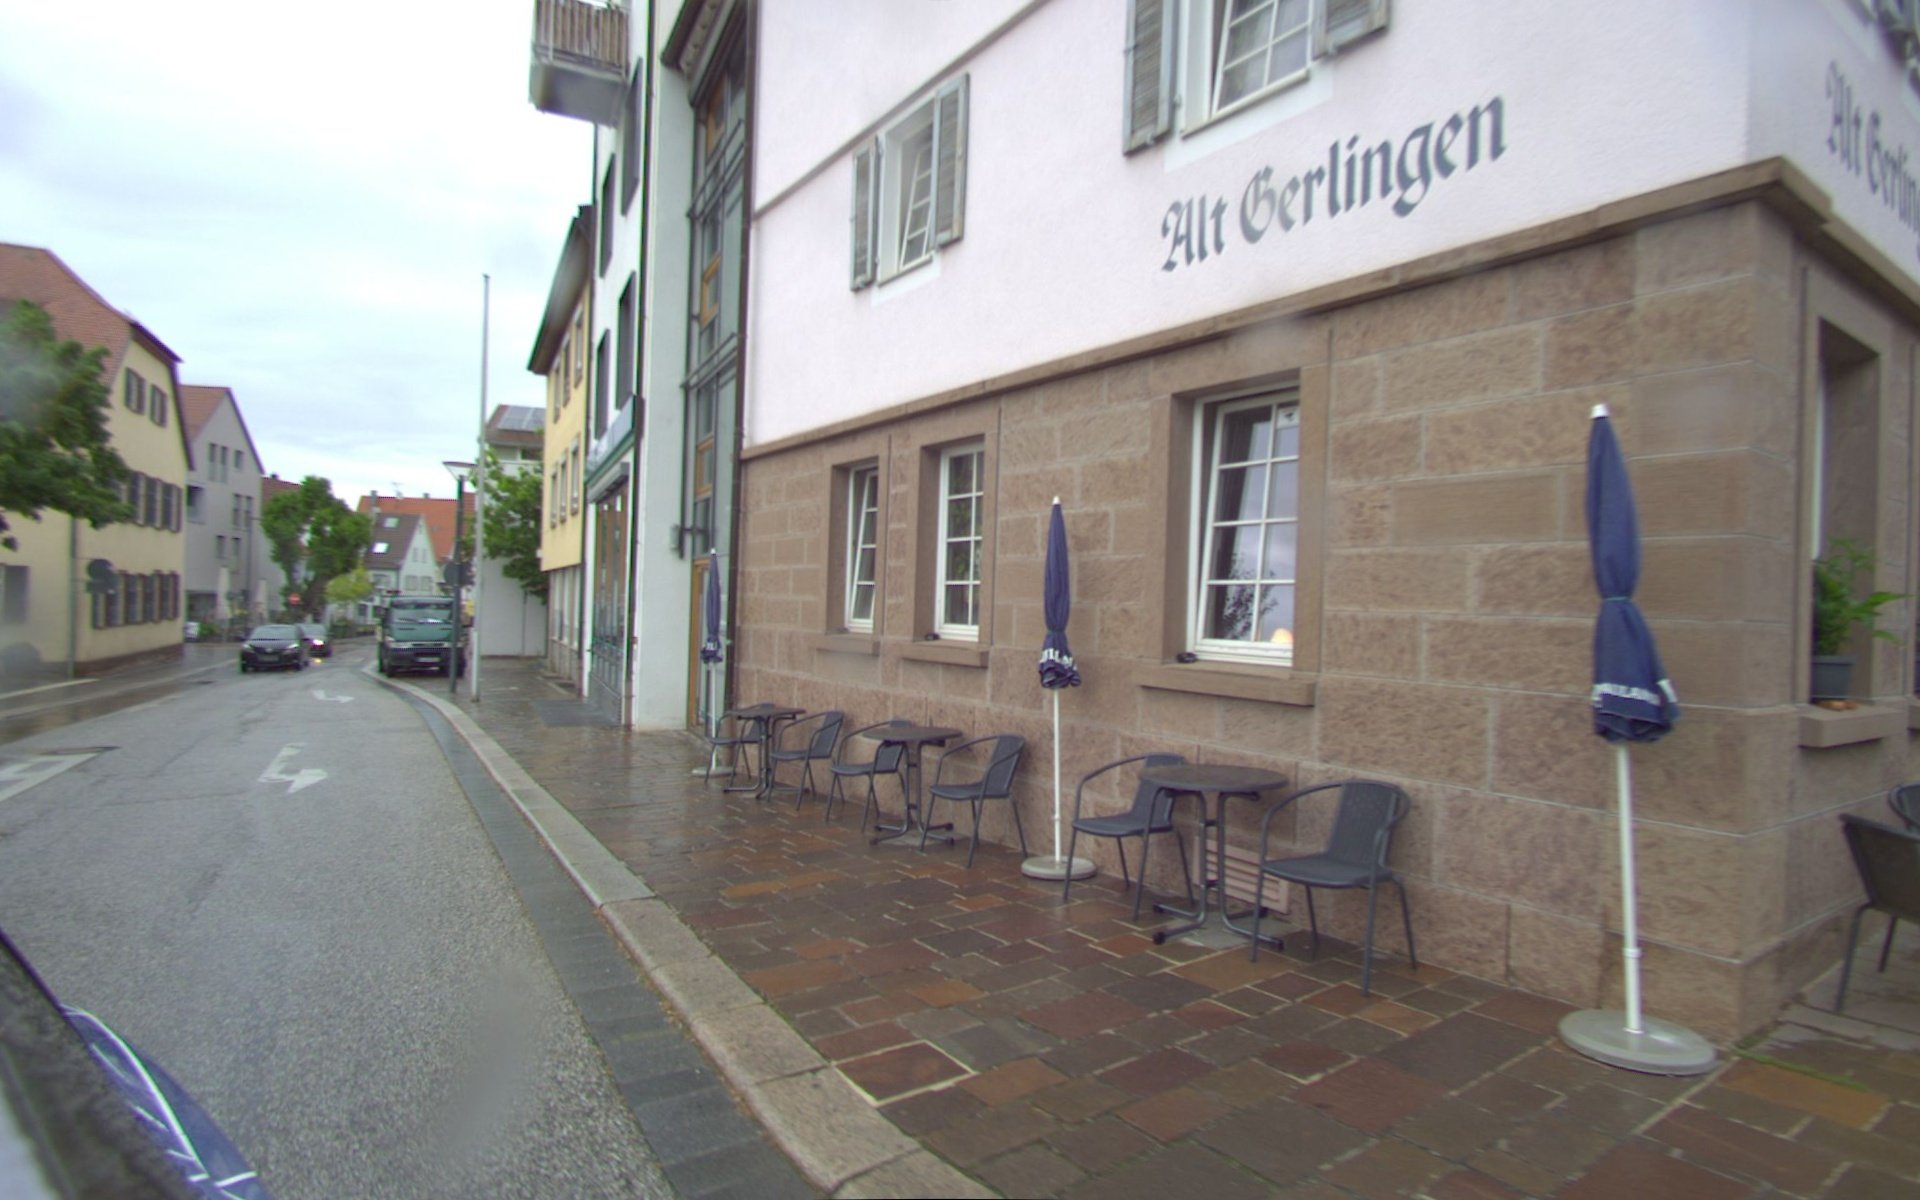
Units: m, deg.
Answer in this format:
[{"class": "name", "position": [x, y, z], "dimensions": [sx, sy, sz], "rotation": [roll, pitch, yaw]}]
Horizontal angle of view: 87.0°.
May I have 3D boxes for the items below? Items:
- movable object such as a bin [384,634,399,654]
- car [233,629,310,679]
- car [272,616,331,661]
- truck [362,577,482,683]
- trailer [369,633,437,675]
[{"class": "movable object such as a bin", "position": [-32.453, 2.484, 57.747], "dimensions": [0.649, 1.104, 0.615], "rotation": [3, -2, -26]}, {"class": "car", "position": [-22.948, 1.760, 33.845], "dimensions": [1.708, 1.567, 3.857], "rotation": [0, -2, -28]}, {"class": "car", "position": [-29.436, 1.708, 45.356], "dimensions": [1.966, 1.918, 4.012], "rotation": [1, -2, -30]}, {"class": "truck", "position": [-16.193, 0.962, 30.219], "dimensions": [2.440, 2.816, 6.617], "rotation": [3, -4, -33]}, {"class": "trailer", "position": [-18.918, 1.827, 34.306], "dimensions": [1.704, 1.357, 3.169], "rotation": [3, -4, -33]}]
